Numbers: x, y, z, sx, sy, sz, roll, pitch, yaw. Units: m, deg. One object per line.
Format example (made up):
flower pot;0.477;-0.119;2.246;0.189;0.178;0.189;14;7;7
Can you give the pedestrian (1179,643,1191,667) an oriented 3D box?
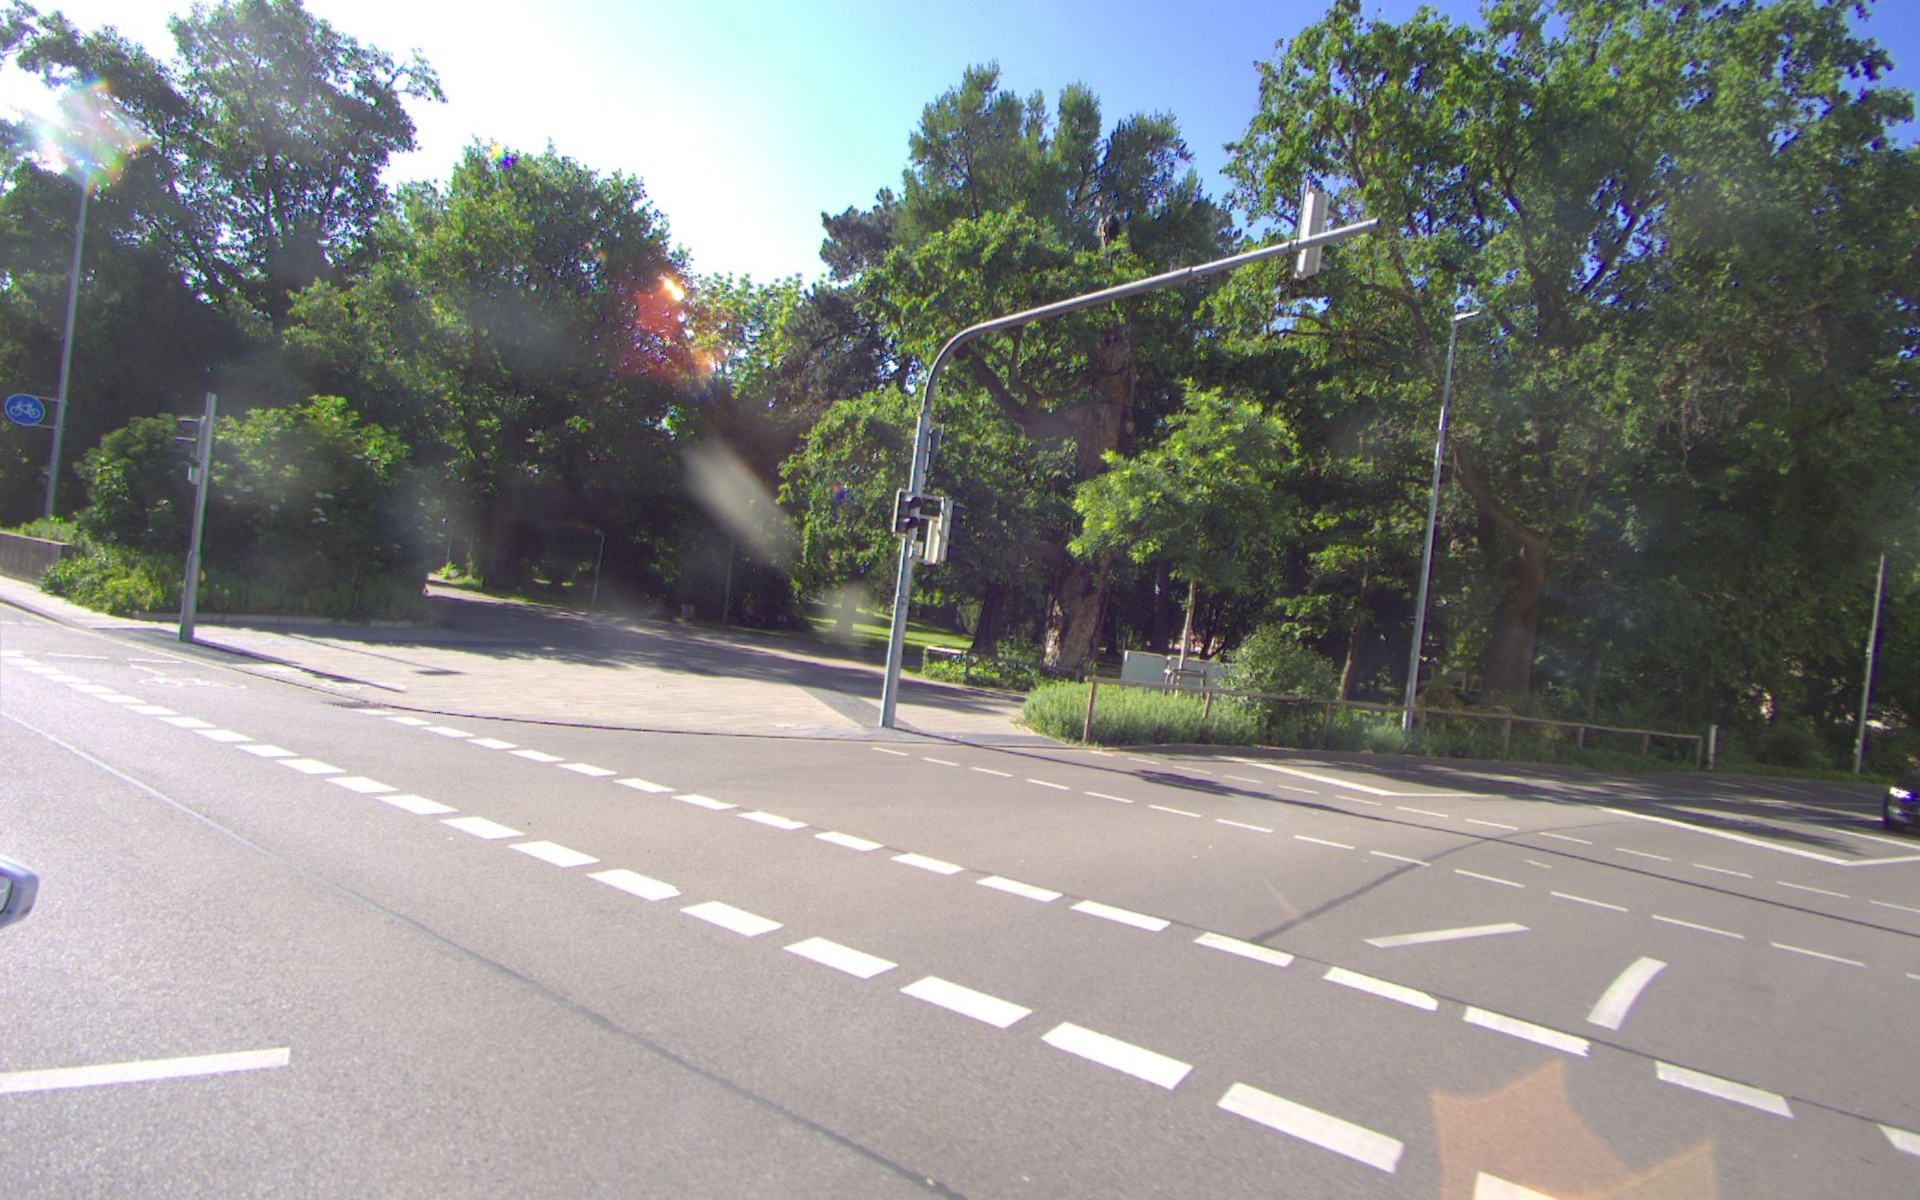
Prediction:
pedestrian;19.497;4.780;87.271;0.567;2.037;0.612;7;-1;-20

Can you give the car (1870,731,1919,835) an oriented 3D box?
car;16.625;3.161;16.336;3.964;1.500;1.716;9;1;-34
